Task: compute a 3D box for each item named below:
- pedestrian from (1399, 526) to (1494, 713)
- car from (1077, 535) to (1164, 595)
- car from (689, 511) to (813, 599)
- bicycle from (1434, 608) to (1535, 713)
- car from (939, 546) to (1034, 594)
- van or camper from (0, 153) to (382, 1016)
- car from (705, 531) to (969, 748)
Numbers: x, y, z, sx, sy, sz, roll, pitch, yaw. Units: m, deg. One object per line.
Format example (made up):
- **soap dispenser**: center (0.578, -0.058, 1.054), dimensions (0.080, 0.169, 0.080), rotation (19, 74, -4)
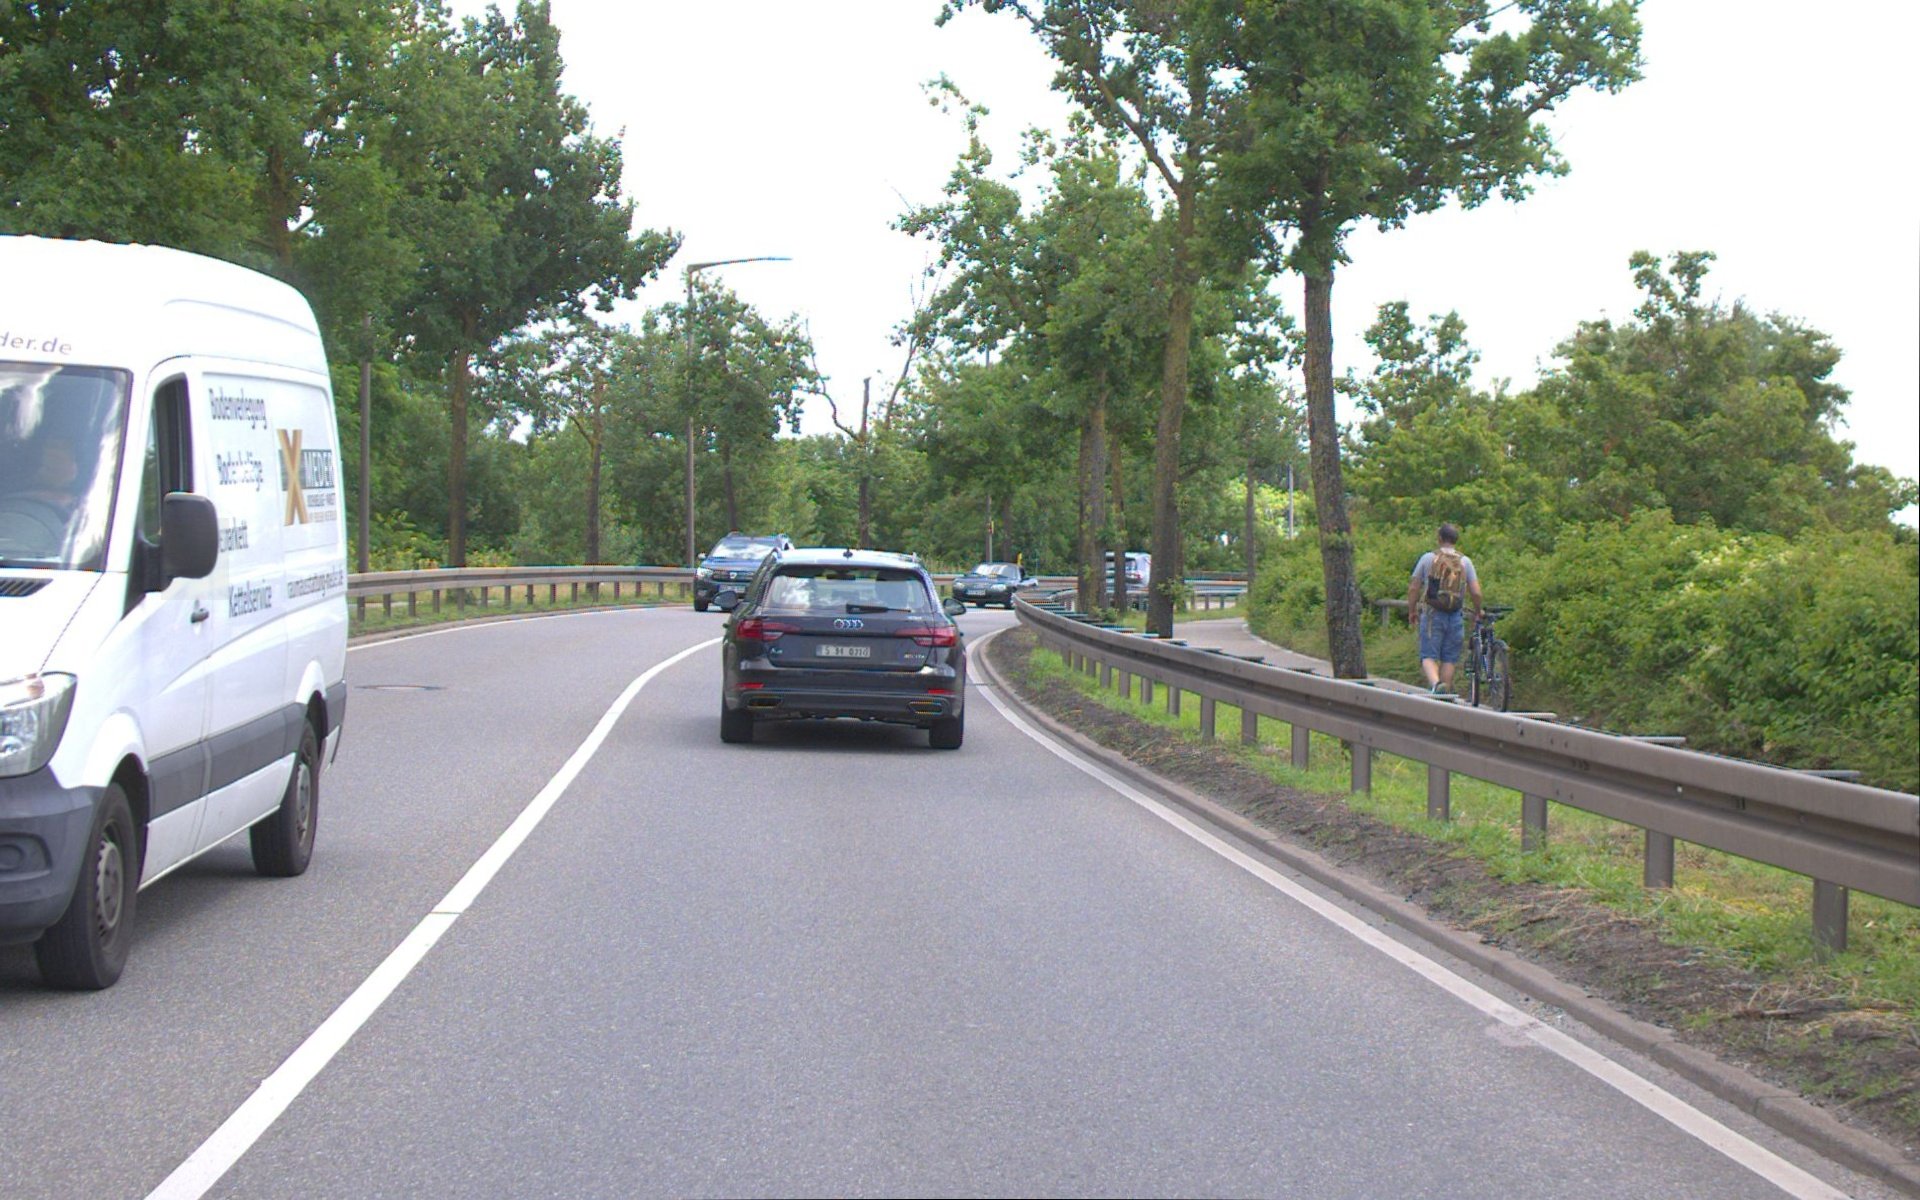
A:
- **pedestrian**: center (4.328, 0.162, 30.657), dimensions (0.657, 1.636, 1.055), rotation (0, 1, -2)
- **car**: center (4.268, -0.937, 90.742), dimensions (1.579, 1.515, 3.998), rotation (1, 1, 13)
- **car**: center (-4.112, -0.900, 68.238), dimensions (1.781, 1.601, 4.157), rotation (3, 1, 5)
- **bicycle**: center (4.667, 0.525, 30.688), dimensions (0.556, 0.866, 1.826), rotation (0, 1, -2)
- **car**: center (0.727, -0.808, 91.244), dimensions (1.593, 1.214, 3.788), rotation (2, 1, 15)
- **van or camper**: center (-3.716, -0.129, 13.242), dimensions (1.993, 2.573, 5.982), rotation (1, 1, -1)
- **car**: center (-0.889, 0.234, 26.271), dimensions (1.828, 1.486, 4.207), rotation (1, 1, -1)
